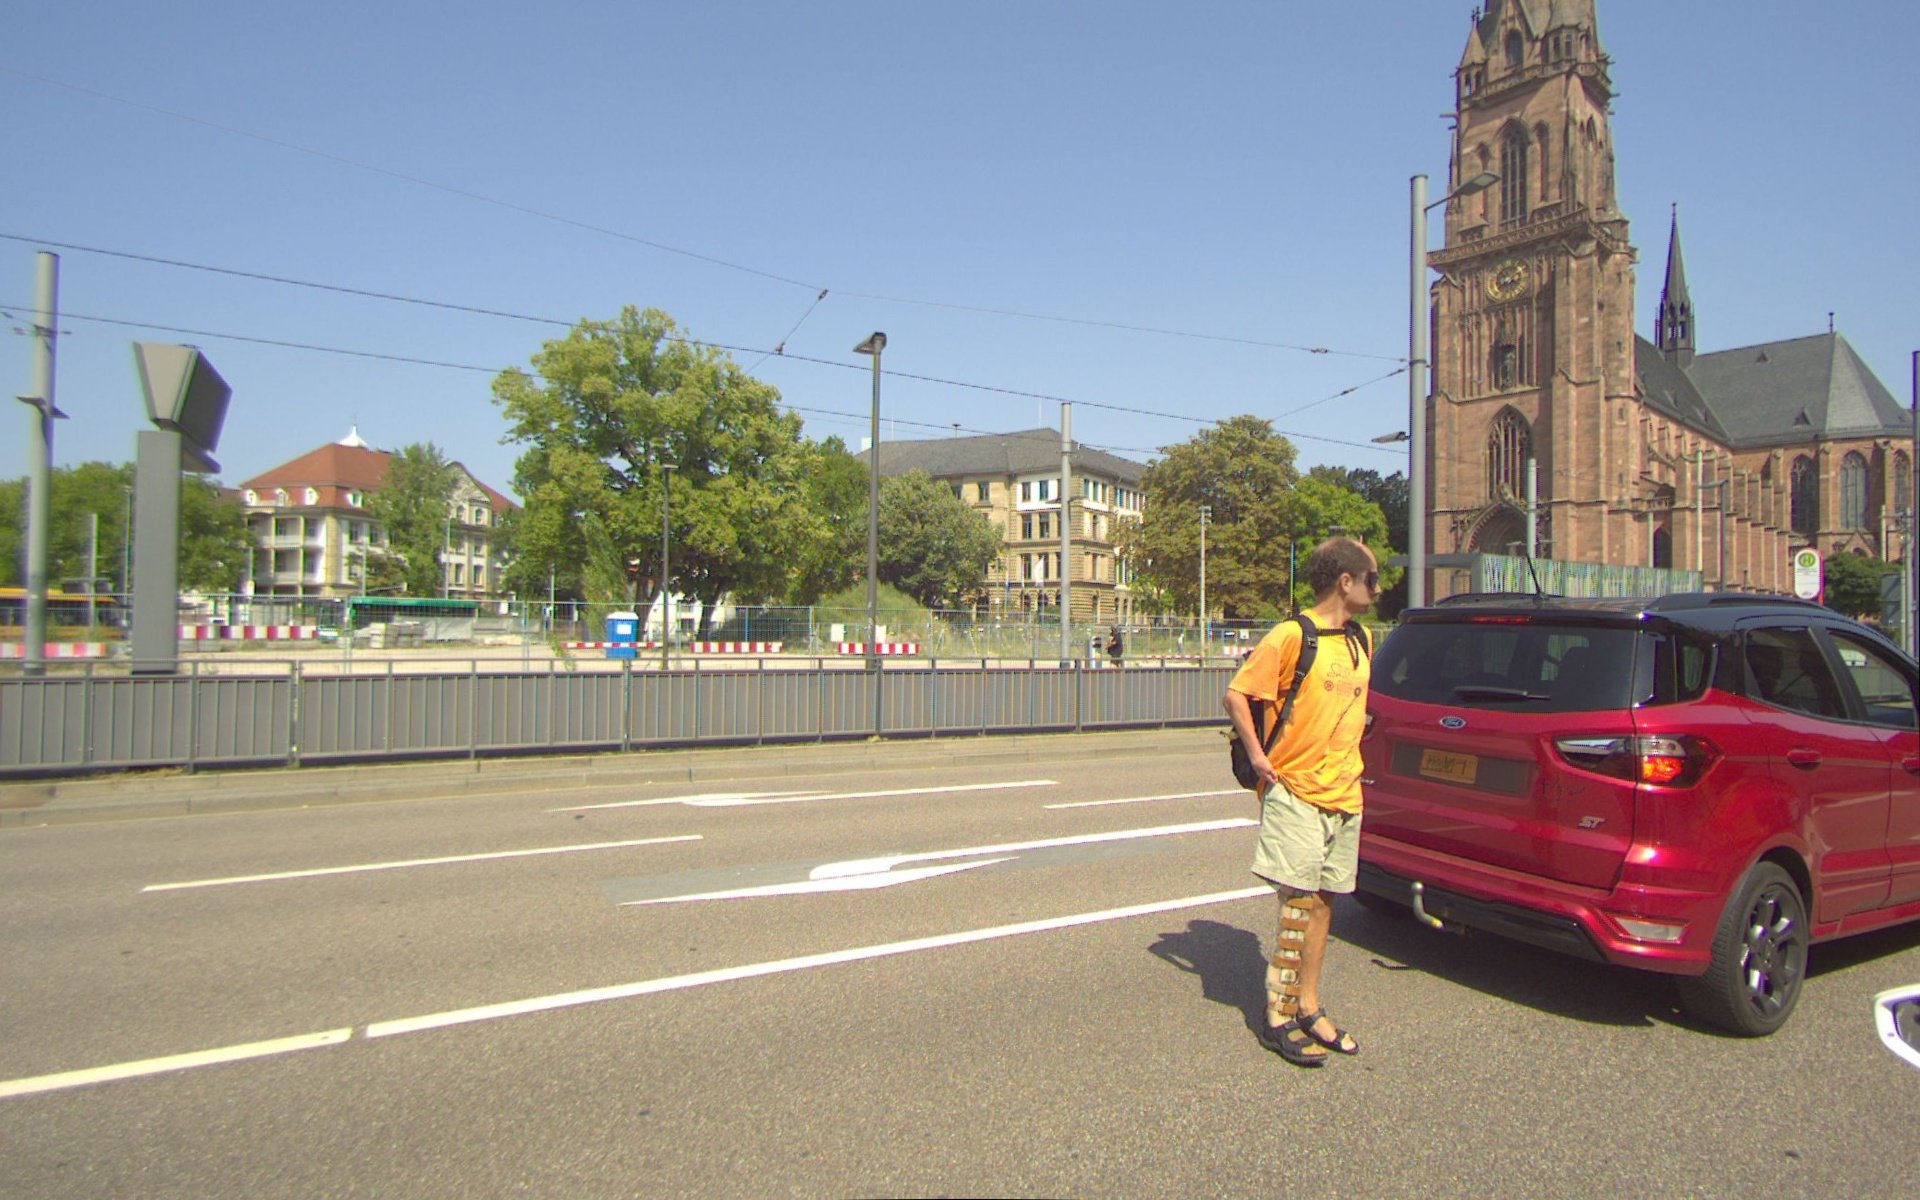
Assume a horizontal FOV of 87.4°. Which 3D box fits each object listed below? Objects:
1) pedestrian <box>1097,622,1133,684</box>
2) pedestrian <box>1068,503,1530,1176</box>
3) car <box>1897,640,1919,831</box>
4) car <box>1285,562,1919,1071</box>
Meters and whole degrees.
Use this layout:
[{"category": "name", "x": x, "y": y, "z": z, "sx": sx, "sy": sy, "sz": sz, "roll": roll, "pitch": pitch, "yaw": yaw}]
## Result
[{"category": "pedestrian", "x": 4.599, "y": 1.570, "z": 29.768, "sx": 0.752, "sy": 1.811, "sz": 0.740, "roll": 1, "pitch": -2, "yaw": -28}, {"category": "pedestrian", "x": 1.154, "y": 0.631, "z": 3.390, "sx": 1.219, "sy": 1.764, "sz": 0.964, "roll": 1, "pitch": -1, "yaw": 36}, {"category": "car", "x": 9.237, "y": 1.083, "z": 7.919, "sx": 3.756, "sy": 1.432, "sz": 1.680, "roll": 2, "pitch": -1, "yaw": -30}, {"category": "car", "x": 3.627, "y": 0.758, "z": 4.900, "sx": 3.918, "sy": 1.642, "sz": 1.623, "roll": 2, "pitch": -1, "yaw": -28}]
